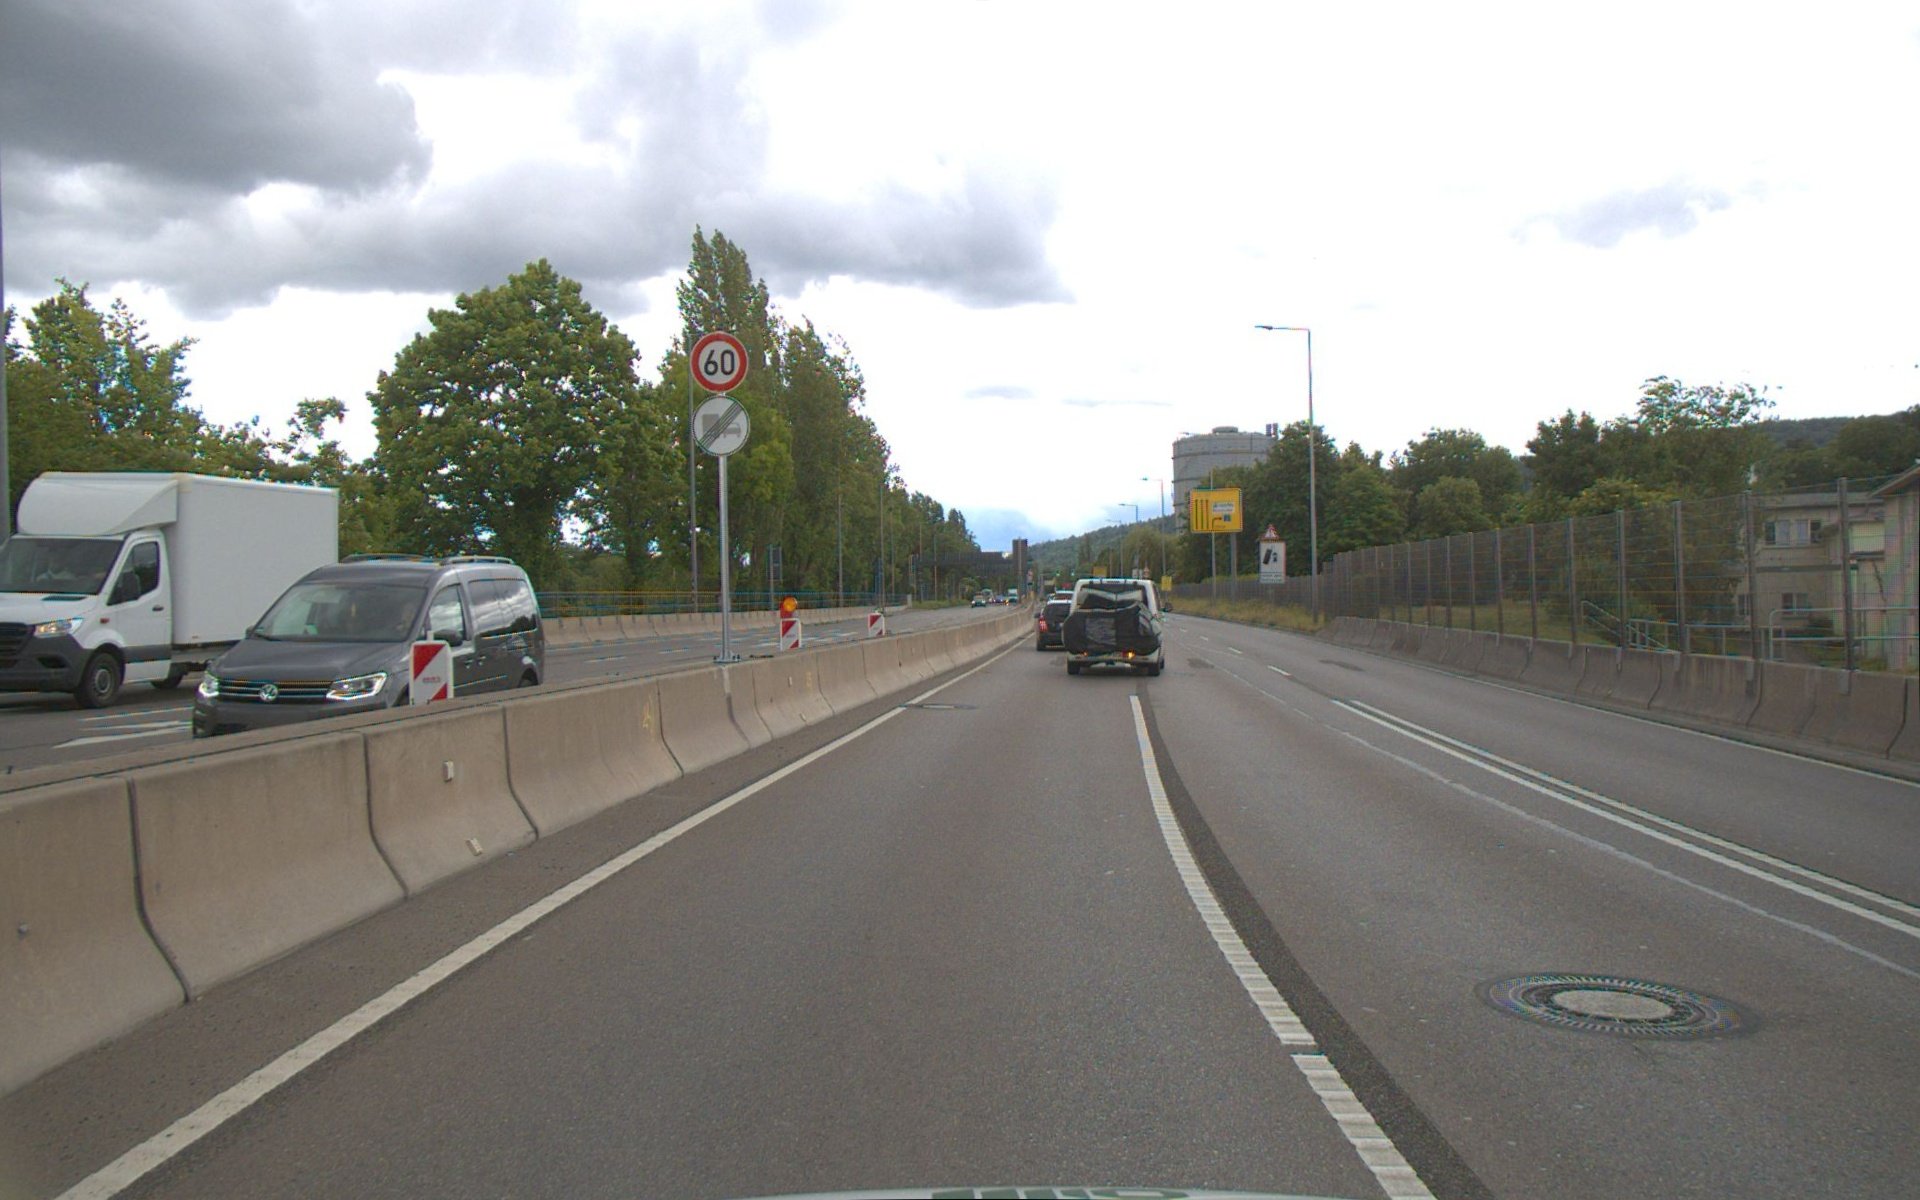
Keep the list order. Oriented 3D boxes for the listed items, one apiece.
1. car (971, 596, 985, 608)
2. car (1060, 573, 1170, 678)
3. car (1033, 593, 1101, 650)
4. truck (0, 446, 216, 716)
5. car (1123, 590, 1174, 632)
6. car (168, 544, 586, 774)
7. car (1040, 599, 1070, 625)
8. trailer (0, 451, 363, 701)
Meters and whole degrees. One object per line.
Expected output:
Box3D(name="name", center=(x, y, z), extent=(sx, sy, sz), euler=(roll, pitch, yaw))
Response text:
Box3D(name="car", center=(2.260, 0.260, 206.233), extent=(1.697, 1.398, 3.617), euler=(0, 0, 1))
Box3D(name="car", center=(3.234, 0.463, 33.564), extent=(1.950, 1.891, 5.645), euler=(2, 0, 8))
Box3D(name="car", center=(3.078, 0.572, 46.914), extent=(1.776, 1.459, 4.068), euler=(-2, 0, 5))
Box3D(name="truck", center=(-11.349, -0.229, 21.048), extent=(2.224, 3.168, 2.989), euler=(1, -1, 4))
Box3D(name="car", center=(8.856, 0.536, 77.927), extent=(1.953, 1.892, 4.000), euler=(-1, -1, 0))
Box3D(name="car", center=(-5.274, 0.484, 15.819), extent=(1.861, 1.837, 4.957), euler=(0, 0, 5))
Box3D(name="car", center=(6.244, 0.792, 108.715), extent=(1.952, 1.702, 4.001), euler=(1, -1, 3))
Box3D(name="trailer", center=(-11.107, -0.298, 24.208), extent=(2.224, 3.193, 5.714), euler=(1, 0, 5))
